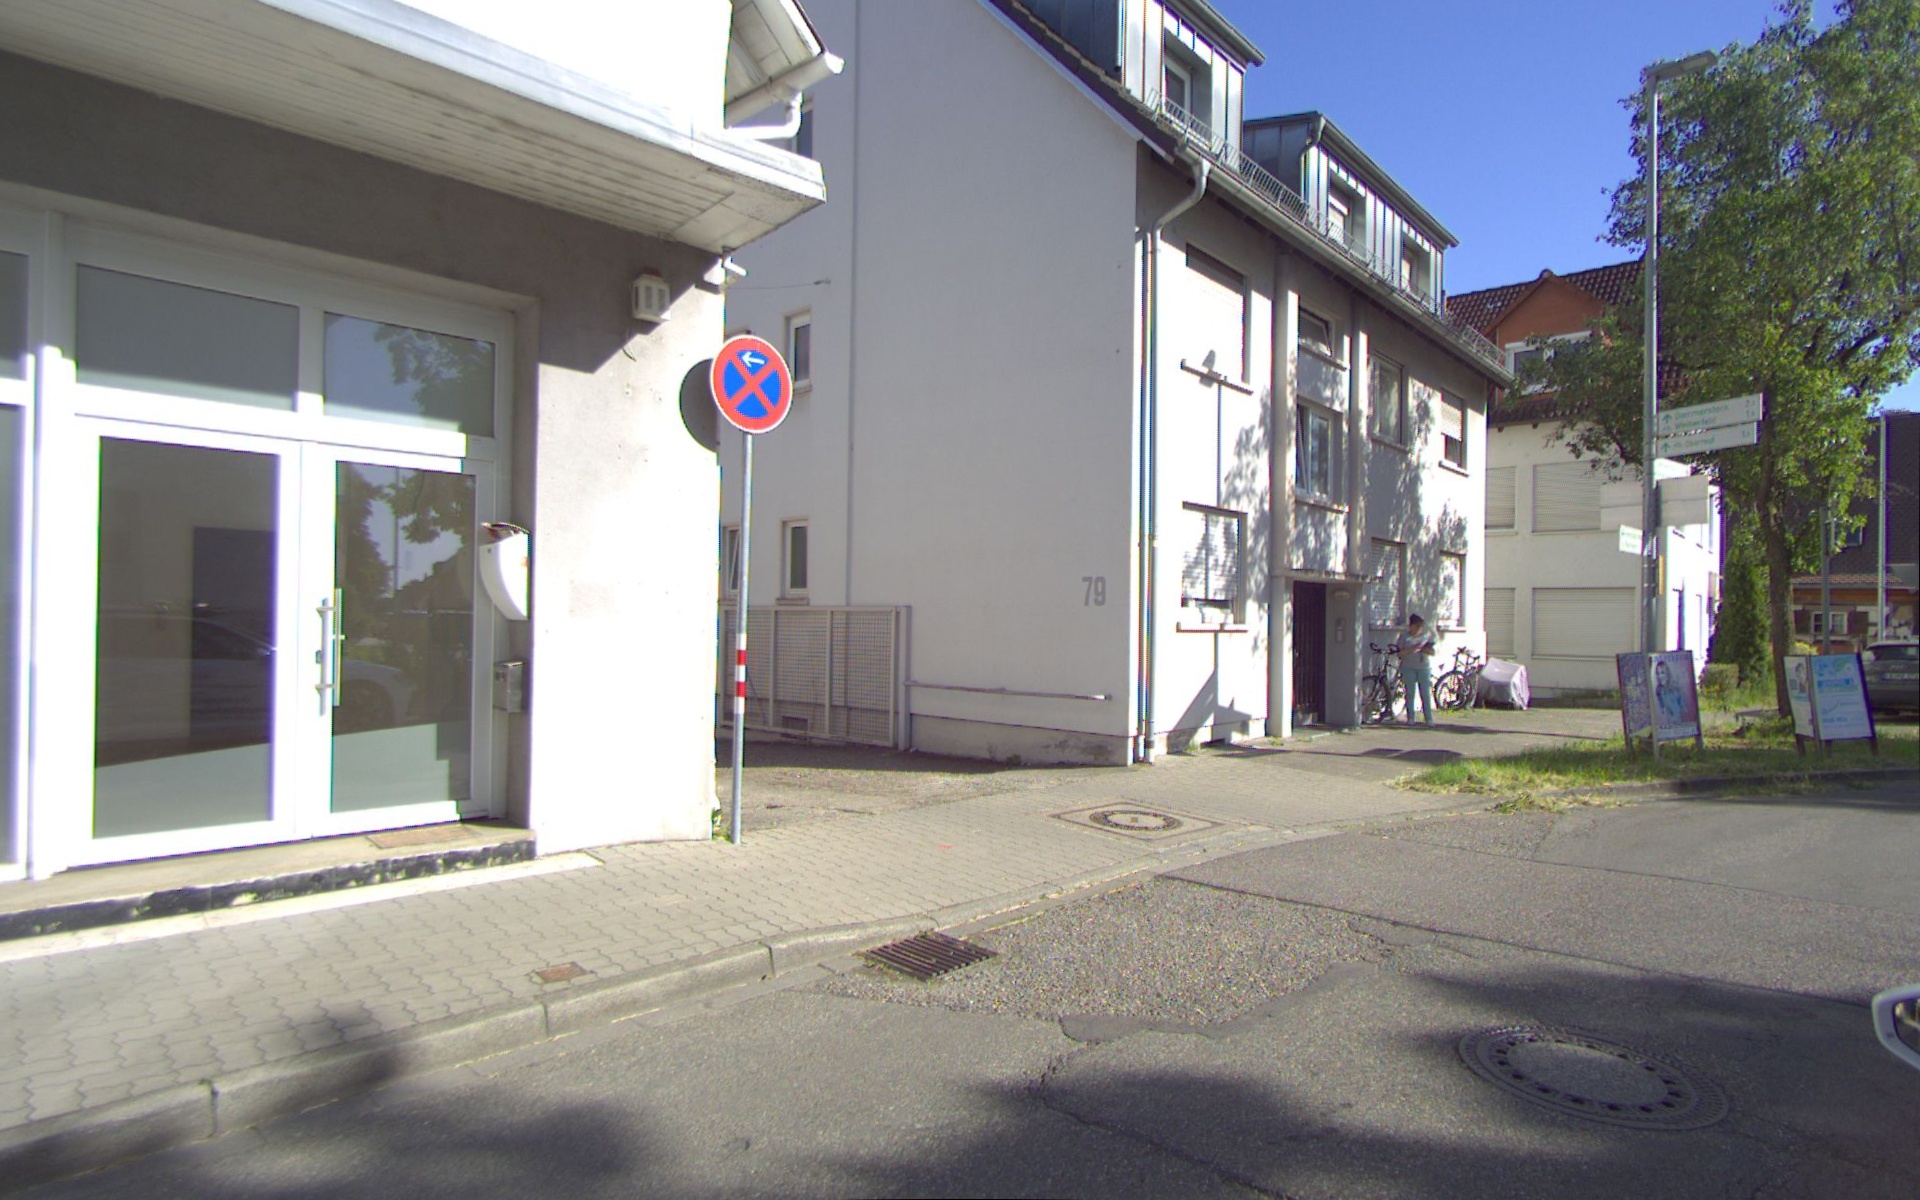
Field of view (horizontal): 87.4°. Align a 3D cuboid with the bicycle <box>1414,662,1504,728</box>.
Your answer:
[{"bbox_3d":[8.680,1.639,17.433,2.018,1.066,0.574,4,-3,-37],"label":"bicycle"}]

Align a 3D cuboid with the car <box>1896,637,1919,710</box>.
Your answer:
[{"bbox_3d":[22.101,1.630,21.834,4.067,1.525,1.794,3,-2,-36],"label":"car"}]

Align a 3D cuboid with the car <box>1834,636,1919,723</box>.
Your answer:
[{"bbox_3d":[18.582,1.507,19.278,4.067,1.525,1.855,3,-2,-36],"label":"car"}]

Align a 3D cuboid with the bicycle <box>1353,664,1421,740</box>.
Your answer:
[{"bbox_3d":[6.366,1.494,14.945,1.372,1.066,0.419,4,-3,-44],"label":"bicycle"}]

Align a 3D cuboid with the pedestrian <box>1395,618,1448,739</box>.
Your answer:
[{"bbox_3d":[6.778,1.146,14.752,0.552,1.715,0.479,4,-2,-40],"label":"pedestrian"}]

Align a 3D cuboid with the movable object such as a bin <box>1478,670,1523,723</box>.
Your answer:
[{"bbox_3d":[10.373,1.844,19.284,0.618,0.957,0.657,0,-2,41],"label":"movable object such as a bin"}]
